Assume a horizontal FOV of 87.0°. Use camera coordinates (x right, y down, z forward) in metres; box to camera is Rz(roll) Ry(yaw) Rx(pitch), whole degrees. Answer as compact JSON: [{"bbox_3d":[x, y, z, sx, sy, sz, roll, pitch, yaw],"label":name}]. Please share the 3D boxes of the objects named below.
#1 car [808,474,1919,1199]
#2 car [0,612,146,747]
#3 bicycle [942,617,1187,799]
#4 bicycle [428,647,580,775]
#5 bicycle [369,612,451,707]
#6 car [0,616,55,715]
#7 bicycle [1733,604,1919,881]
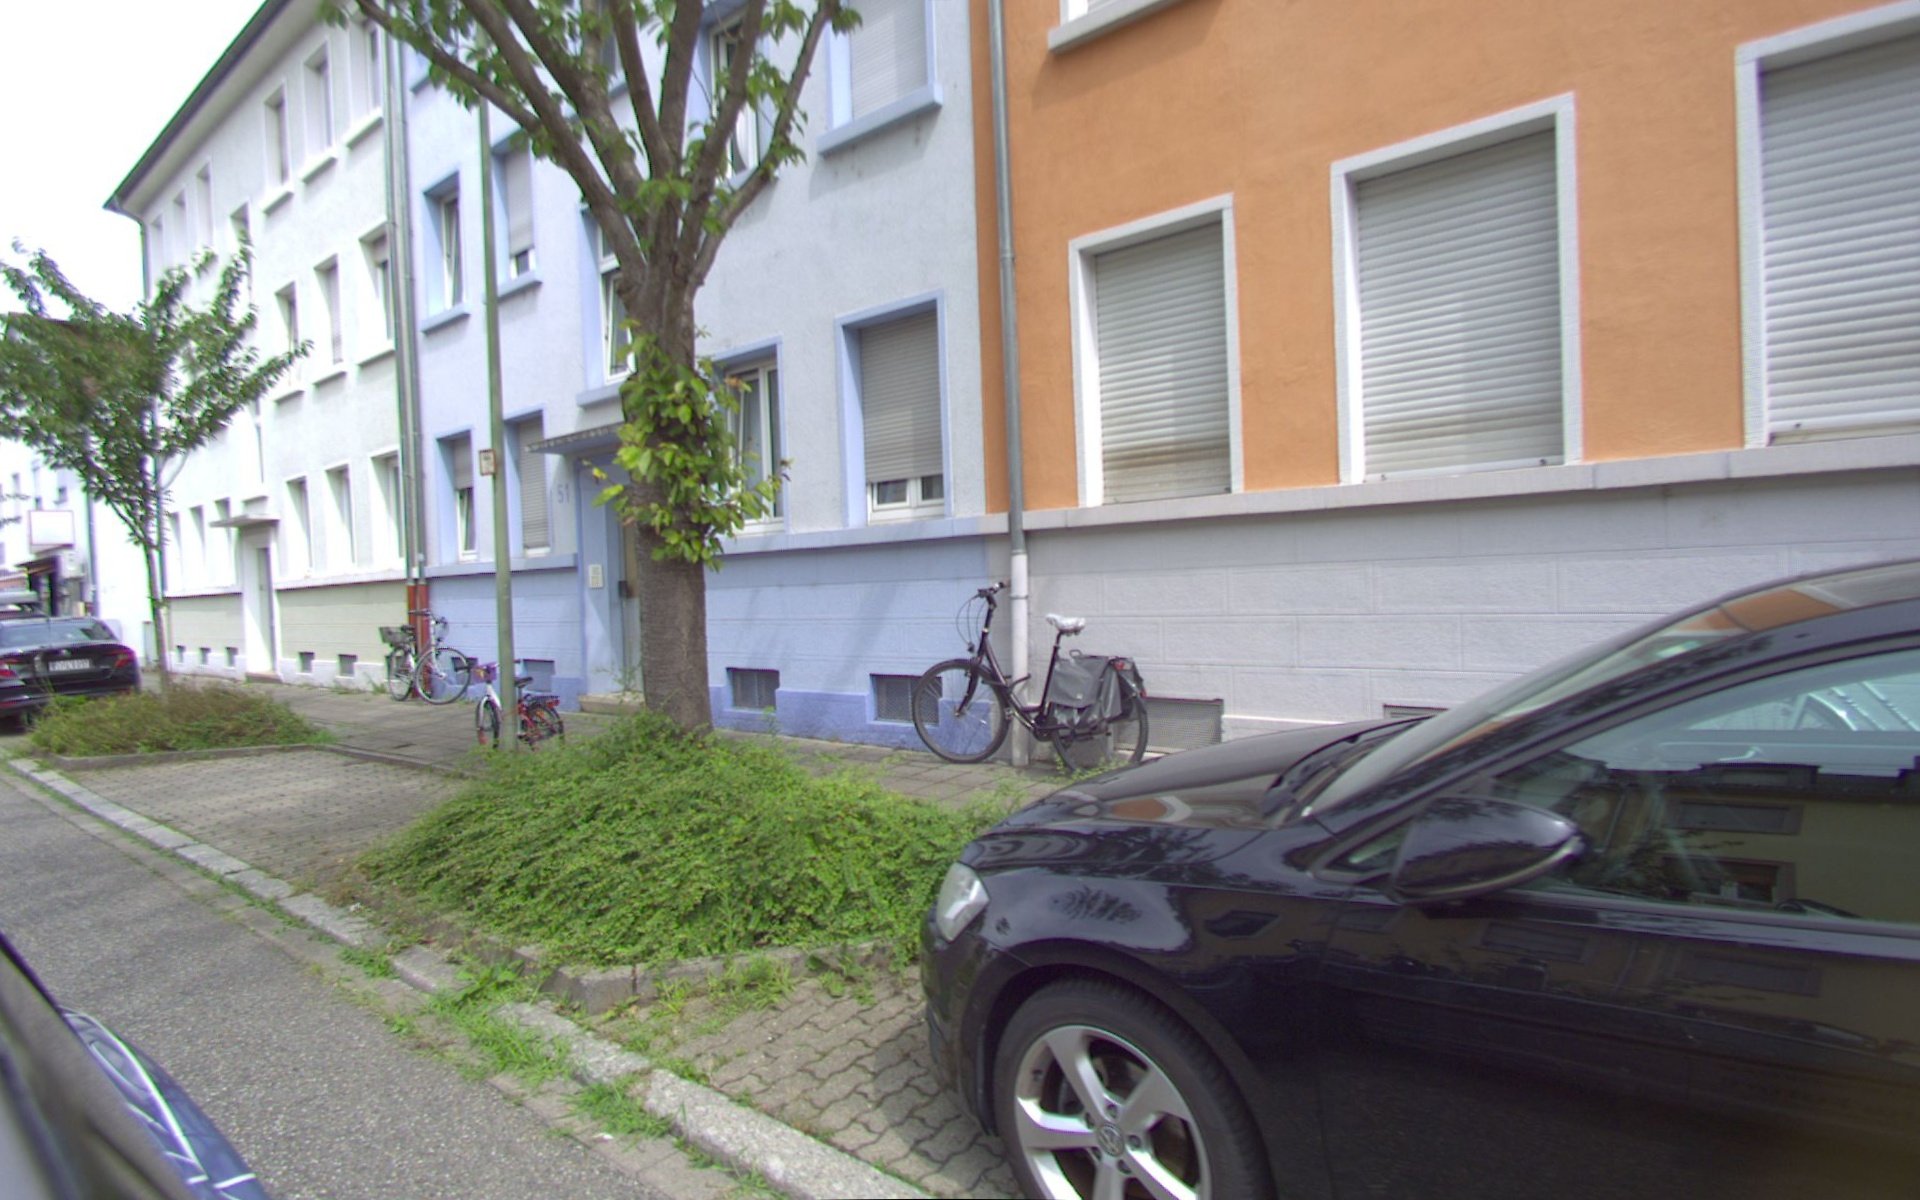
[{"bbox_3d":[1.851,0.550,1.709,4.088,1.495,1.819,-1,3,38],"label":"car"},{"bbox_3d":[-13.079,1.017,14.251,4.246,1.553,1.685,-1,3,41],"label":"car"},{"bbox_3d":[0.606,0.615,6.289,1.568,1.003,0.363,-1,0,40],"label":"bicycle"},{"bbox_3d":[-3.715,0.861,8.195,1.537,0.879,0.409,-1,6,40],"label":"bicycle"},{"bbox_3d":[-6.873,0.718,12.617,1.537,1.122,0.363,-1,-1,40],"label":"bicycle"},{"bbox_3d":[-17.570,1.133,17.822,4.244,1.593,1.677,-1,2,38],"label":"car"},{"bbox_3d":[3.925,0.516,3.582,1.866,1.013,0.363,-1,-1,40],"label":"bicycle"}]
